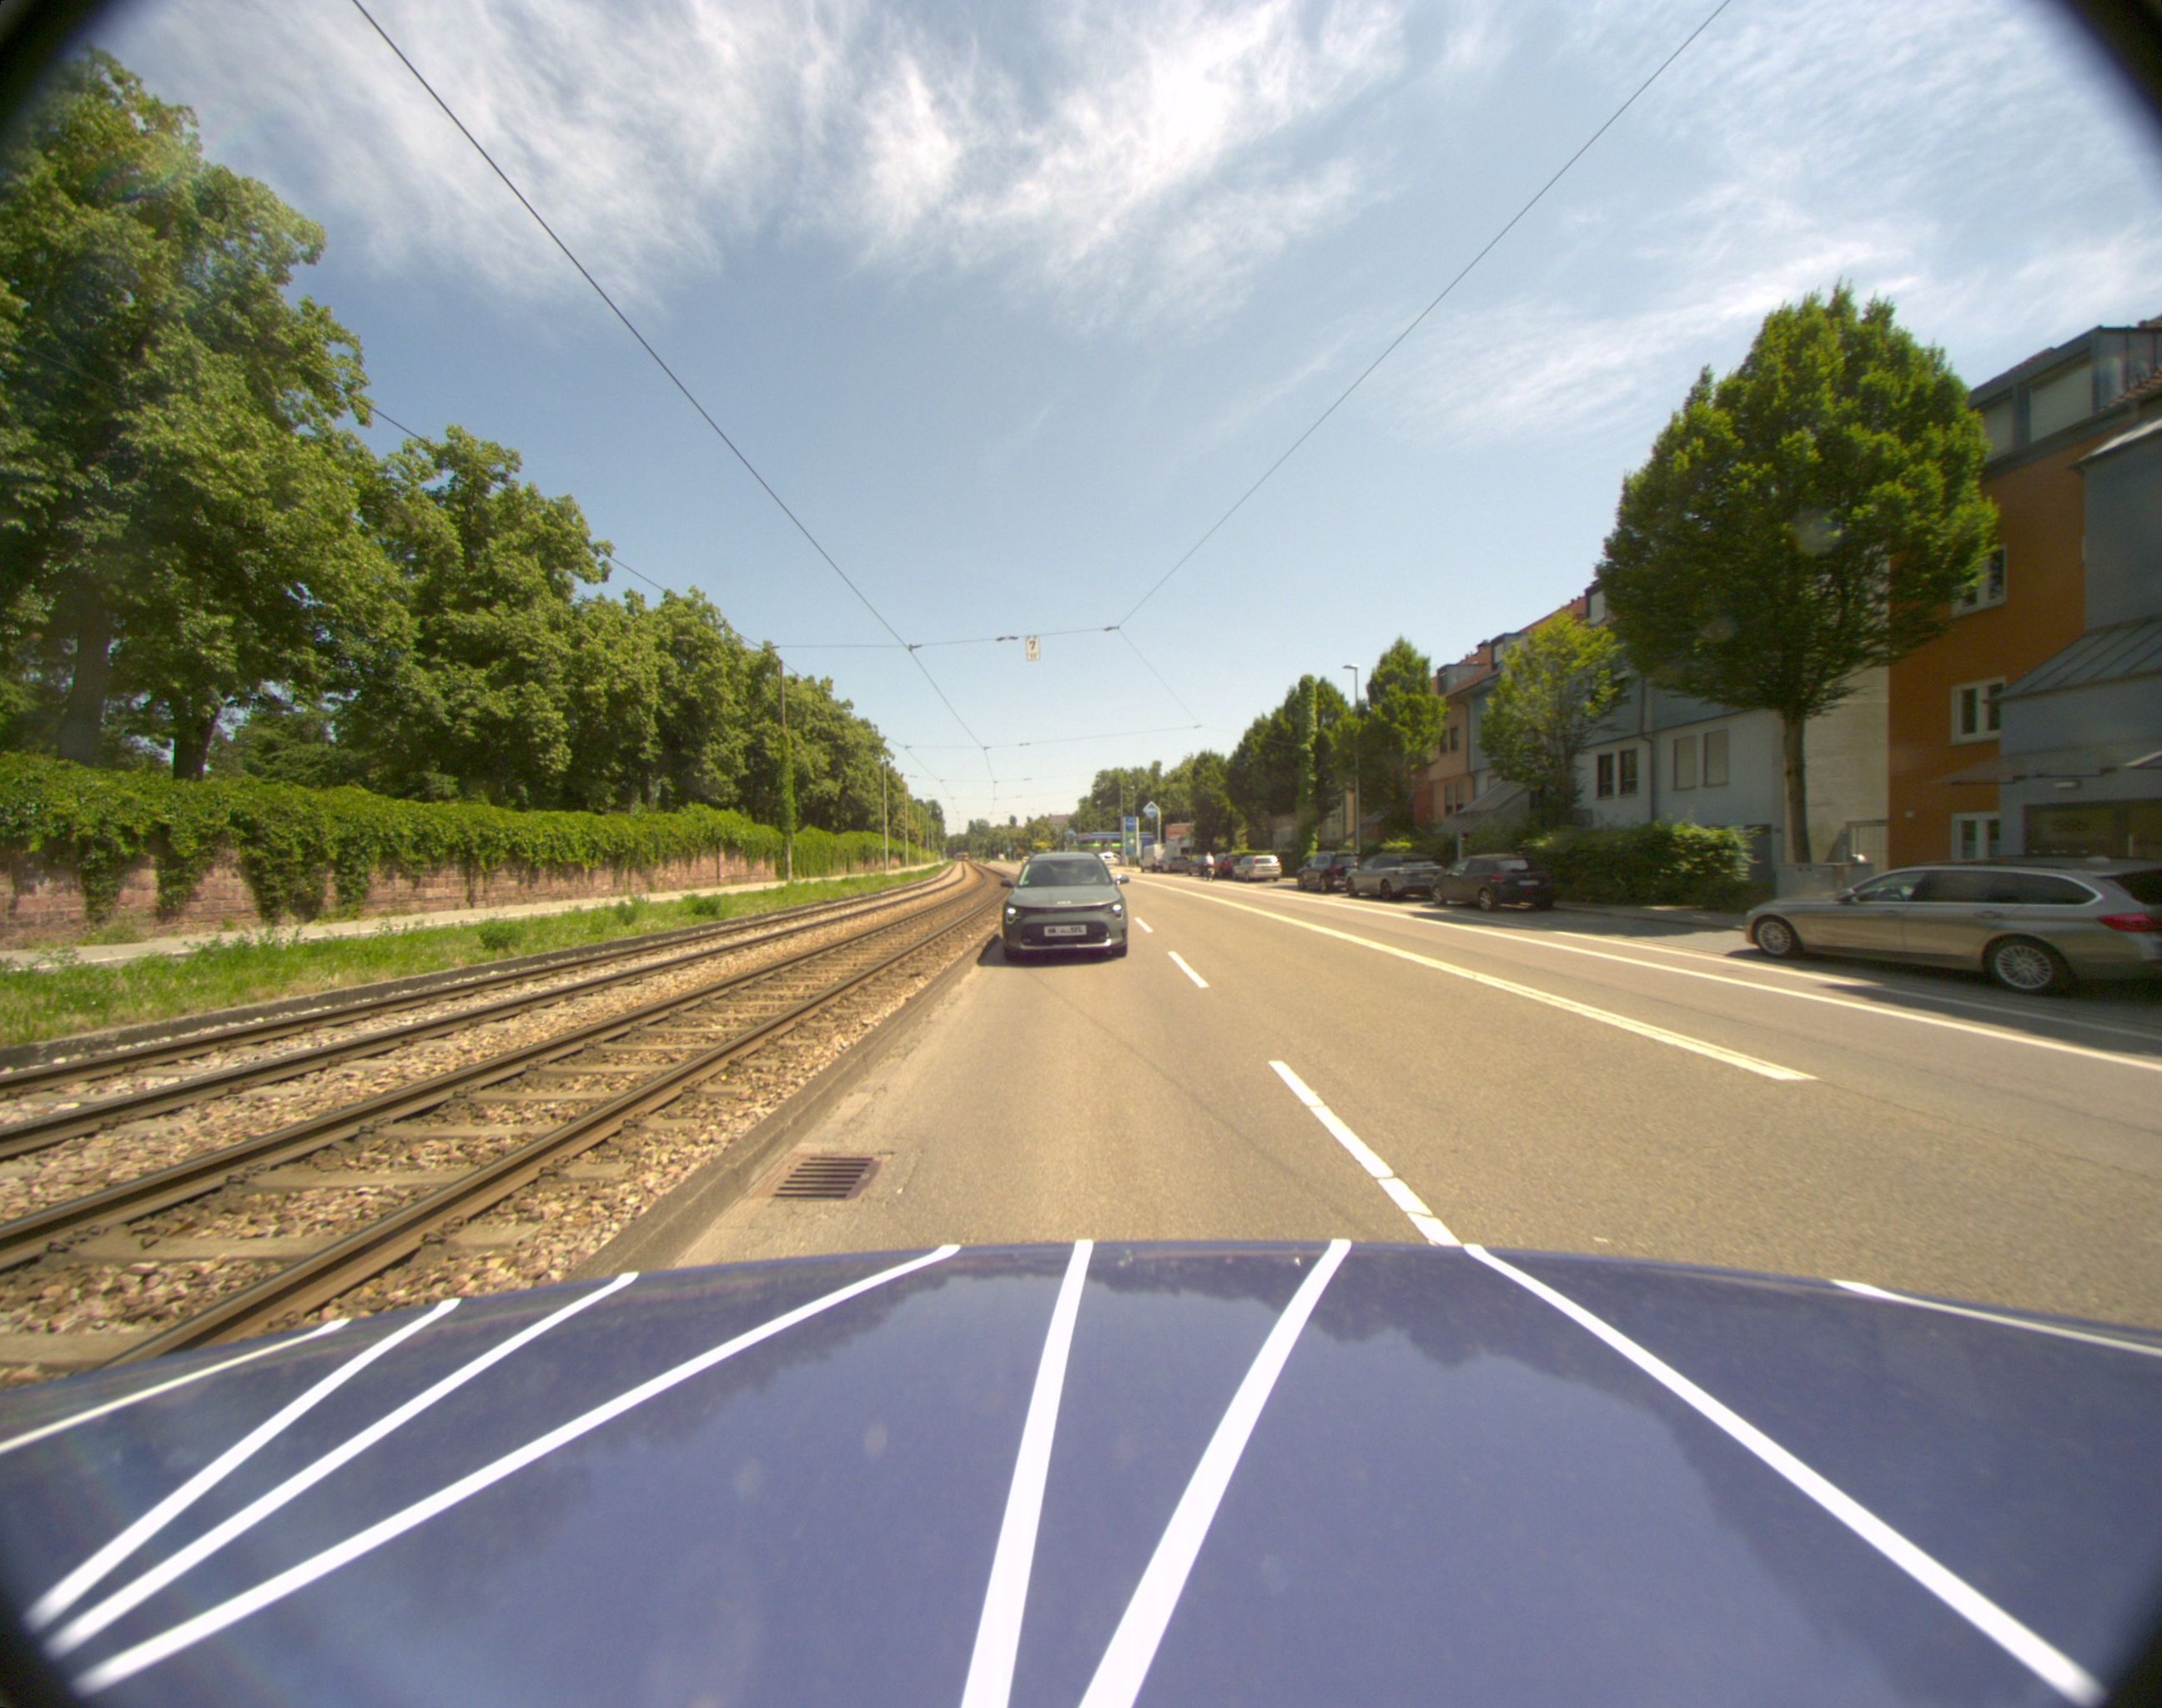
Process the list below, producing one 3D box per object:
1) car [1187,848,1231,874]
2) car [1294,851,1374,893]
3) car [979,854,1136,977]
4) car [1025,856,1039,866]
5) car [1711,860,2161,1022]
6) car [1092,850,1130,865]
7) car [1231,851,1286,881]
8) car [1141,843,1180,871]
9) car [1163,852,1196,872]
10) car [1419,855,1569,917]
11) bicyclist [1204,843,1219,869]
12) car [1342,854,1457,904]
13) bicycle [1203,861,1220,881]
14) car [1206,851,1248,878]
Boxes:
[{"bbox_3d":[9.083,0.479,54.433,1.999,1.783,4.556,-1,0,-5],"label":"car"},{"bbox_3d":[10.544,0.723,32.016,1.772,1.579,4.147,-3,0,-3],"label":"car"},{"bbox_3d":[-0.219,0.840,12.249,2.062,1.534,4.000,-3,0,3],"label":"car"},{"bbox_3d":[-7.056,0.990,108.318,1.696,1.403,3.513,-2,0,-8],"label":"car"},{"bbox_3d":[11.132,0.868,9.870,1.708,1.421,4.750,-5,0,-3],"label":"car"},{"bbox_3d":[4.572,0.515,115.784,5.379,2.085,1.996,-3,1,-20],"label":"car"},{"bbox_3d":[10.042,0.659,43.336,1.845,1.573,4.495,-3,0,-3],"label":"car"},{"bbox_3d":[7.202,0.277,69.361,2.285,2.294,5.226,-3,0,-8],"label":"car"},{"bbox_3d":[8.145,0.679,63.425,1.870,1.528,4.142,-3,0,-4],"label":"car"},{"bbox_3d":[11.155,0.785,20.907,1.754,1.424,4.256,-3,0,0],"label":"car"},{"bbox_3d":[7.499,0.106,43.600,0.737,1.496,0.737,1,2,1],"label":"bicyclist"},{"bbox_3d":[10.815,0.771,26.196,1.830,1.487,4.756,-3,0,-1],"label":"car"},{"bbox_3d":[7.480,0.956,43.597,0.641,1.089,1.638,2,1,1],"label":"bicycle"},{"bbox_3d":[9.421,0.669,49.226,1.604,1.584,3.680,-3,0,-6],"label":"car"}]
